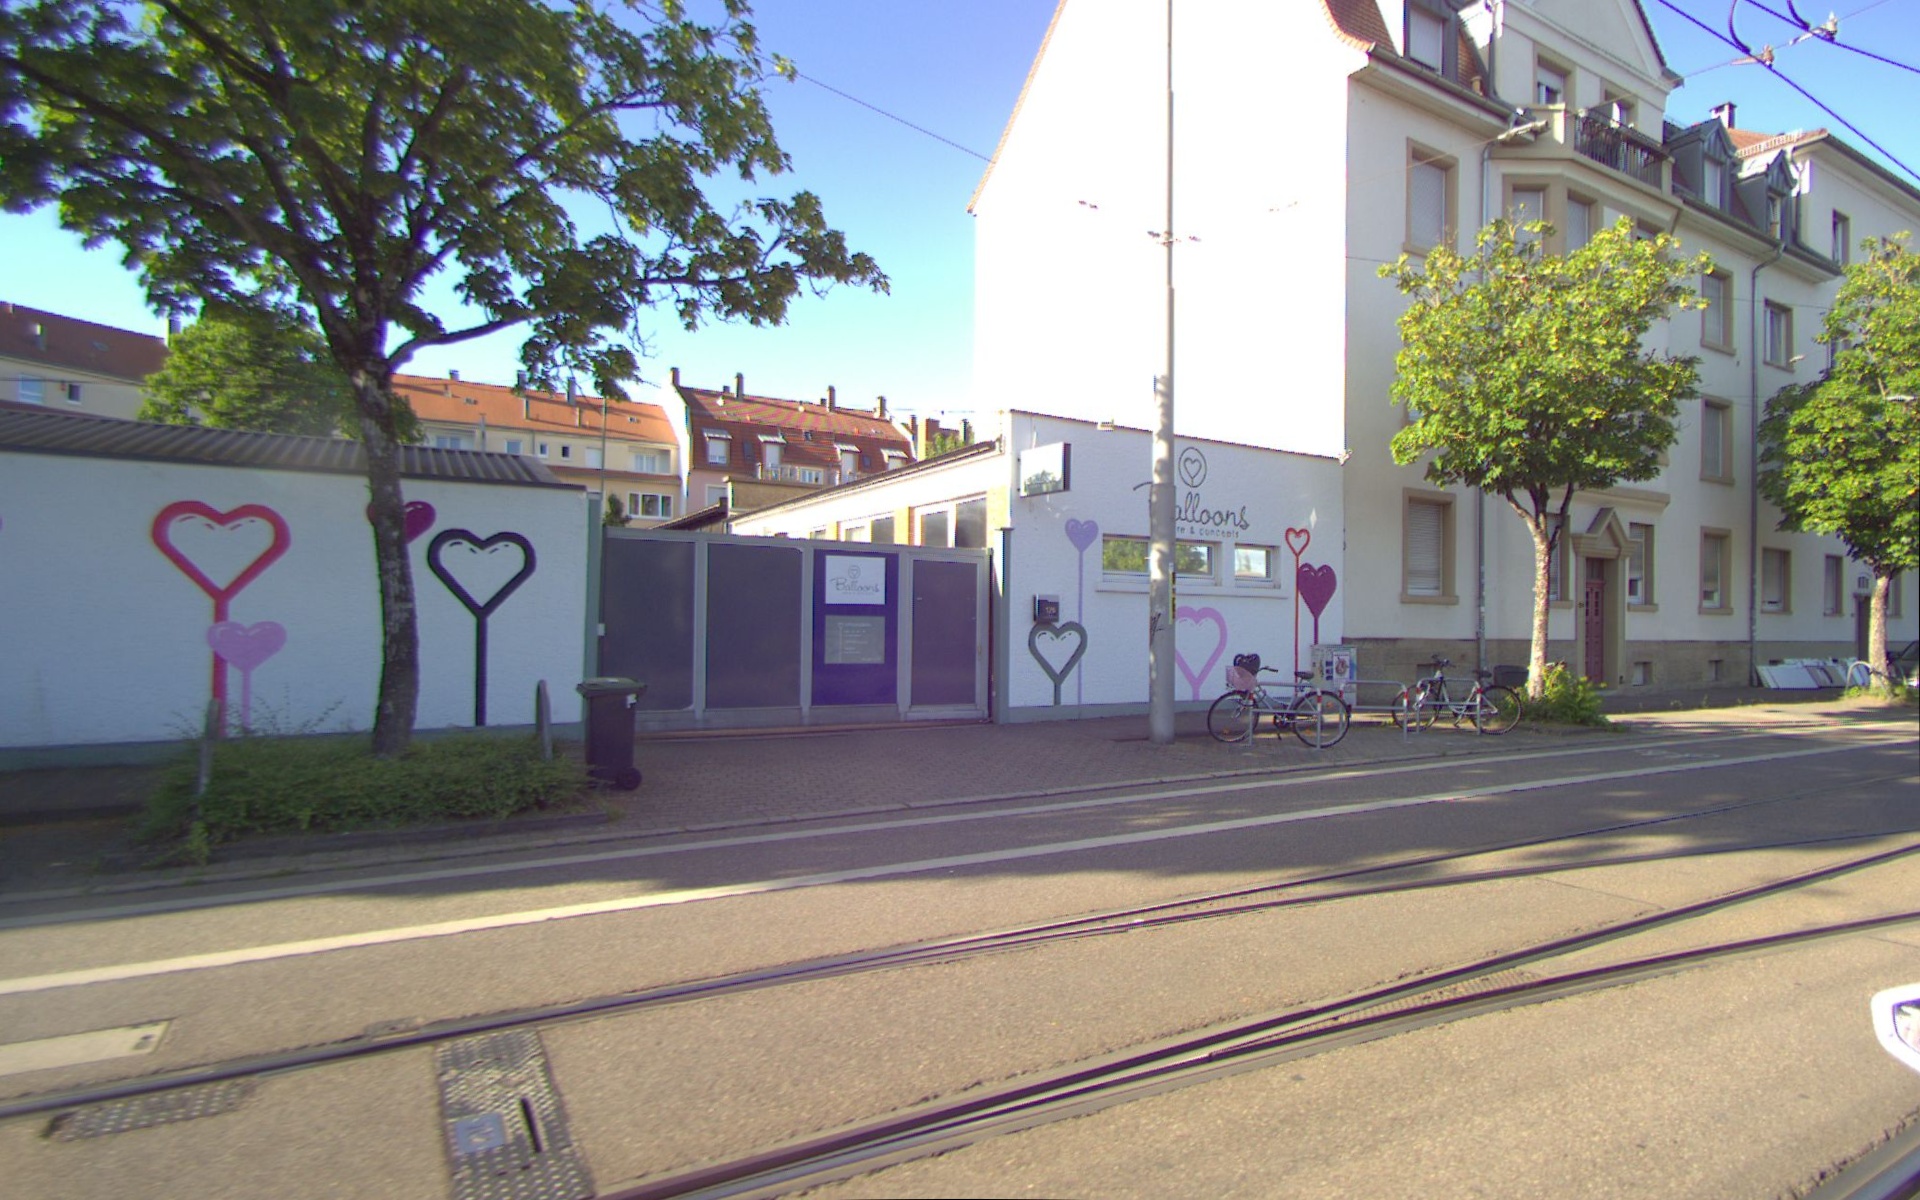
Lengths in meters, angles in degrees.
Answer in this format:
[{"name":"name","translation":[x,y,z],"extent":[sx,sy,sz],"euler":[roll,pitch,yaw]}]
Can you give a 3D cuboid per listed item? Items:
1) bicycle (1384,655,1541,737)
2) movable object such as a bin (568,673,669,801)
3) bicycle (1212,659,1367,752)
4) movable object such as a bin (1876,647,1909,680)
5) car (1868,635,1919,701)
[{"name":"bicycle","translation":[7.227,1.362,14.522],"extent":[1.947,1.054,0.532],"euler":[1,0,14]},{"name":"movable object such as a bin","translation":[-2.939,1.151,8.629],"extent":[0.694,0.973,0.579],"euler":[2,4,-30]},{"name":"bicycle","translation":[4.144,1.318,12.728],"extent":[1.750,1.054,0.670],"euler":[1,0,7]},{"name":"movable object such as a bin","translation":[27.323,1.853,29.427],"extent":[0.563,0.947,0.592],"euler":[1,-2,-33]},{"name":"car","translation":[24.060,1.664,24.563],"extent":[3.953,1.511,1.643],"euler":[2,0,-30]}]
